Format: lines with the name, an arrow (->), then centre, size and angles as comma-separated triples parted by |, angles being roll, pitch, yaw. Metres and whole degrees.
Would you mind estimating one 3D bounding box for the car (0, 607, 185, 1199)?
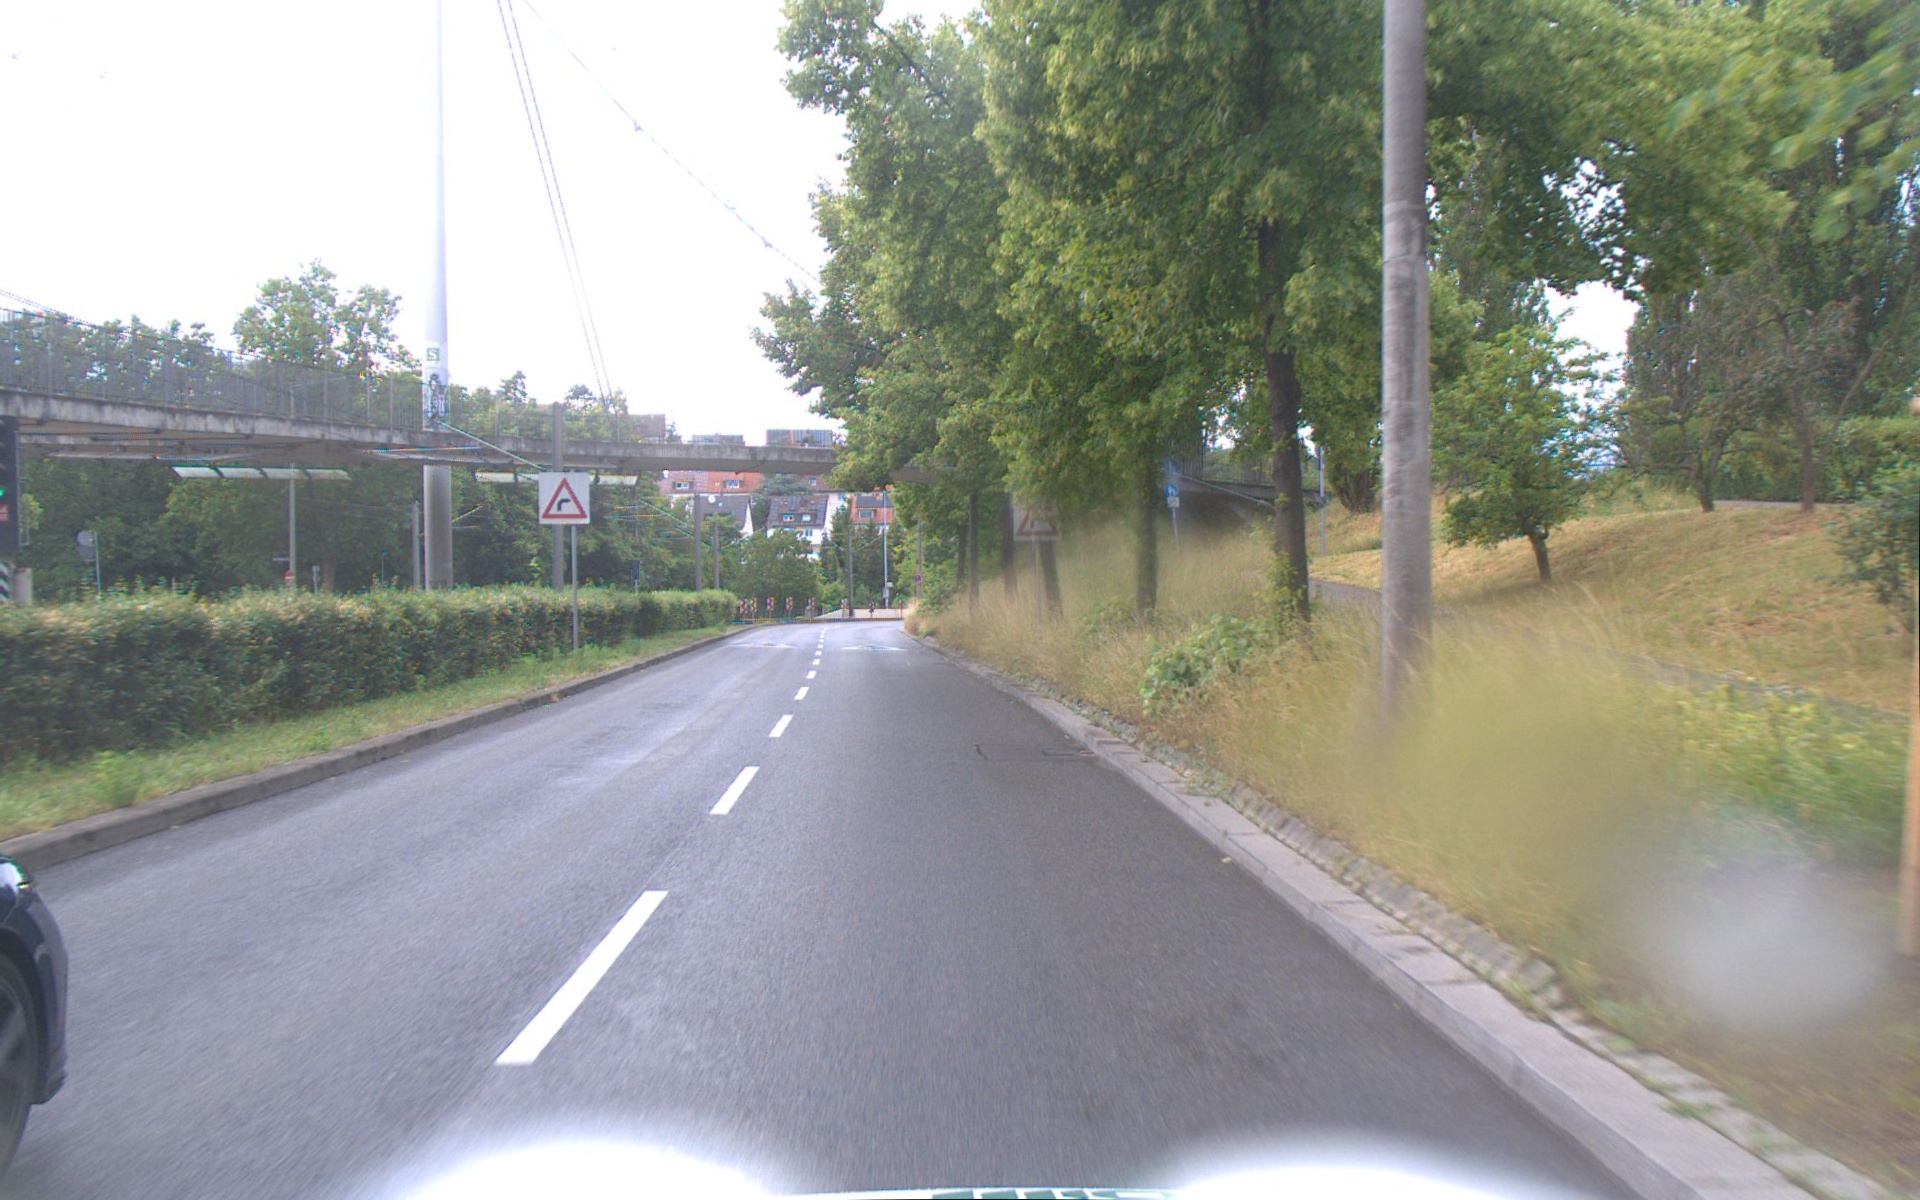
car -> -3.104, 0.709, 2.577 | 1.771, 1.402, 4.346 | 1, 0, -1
